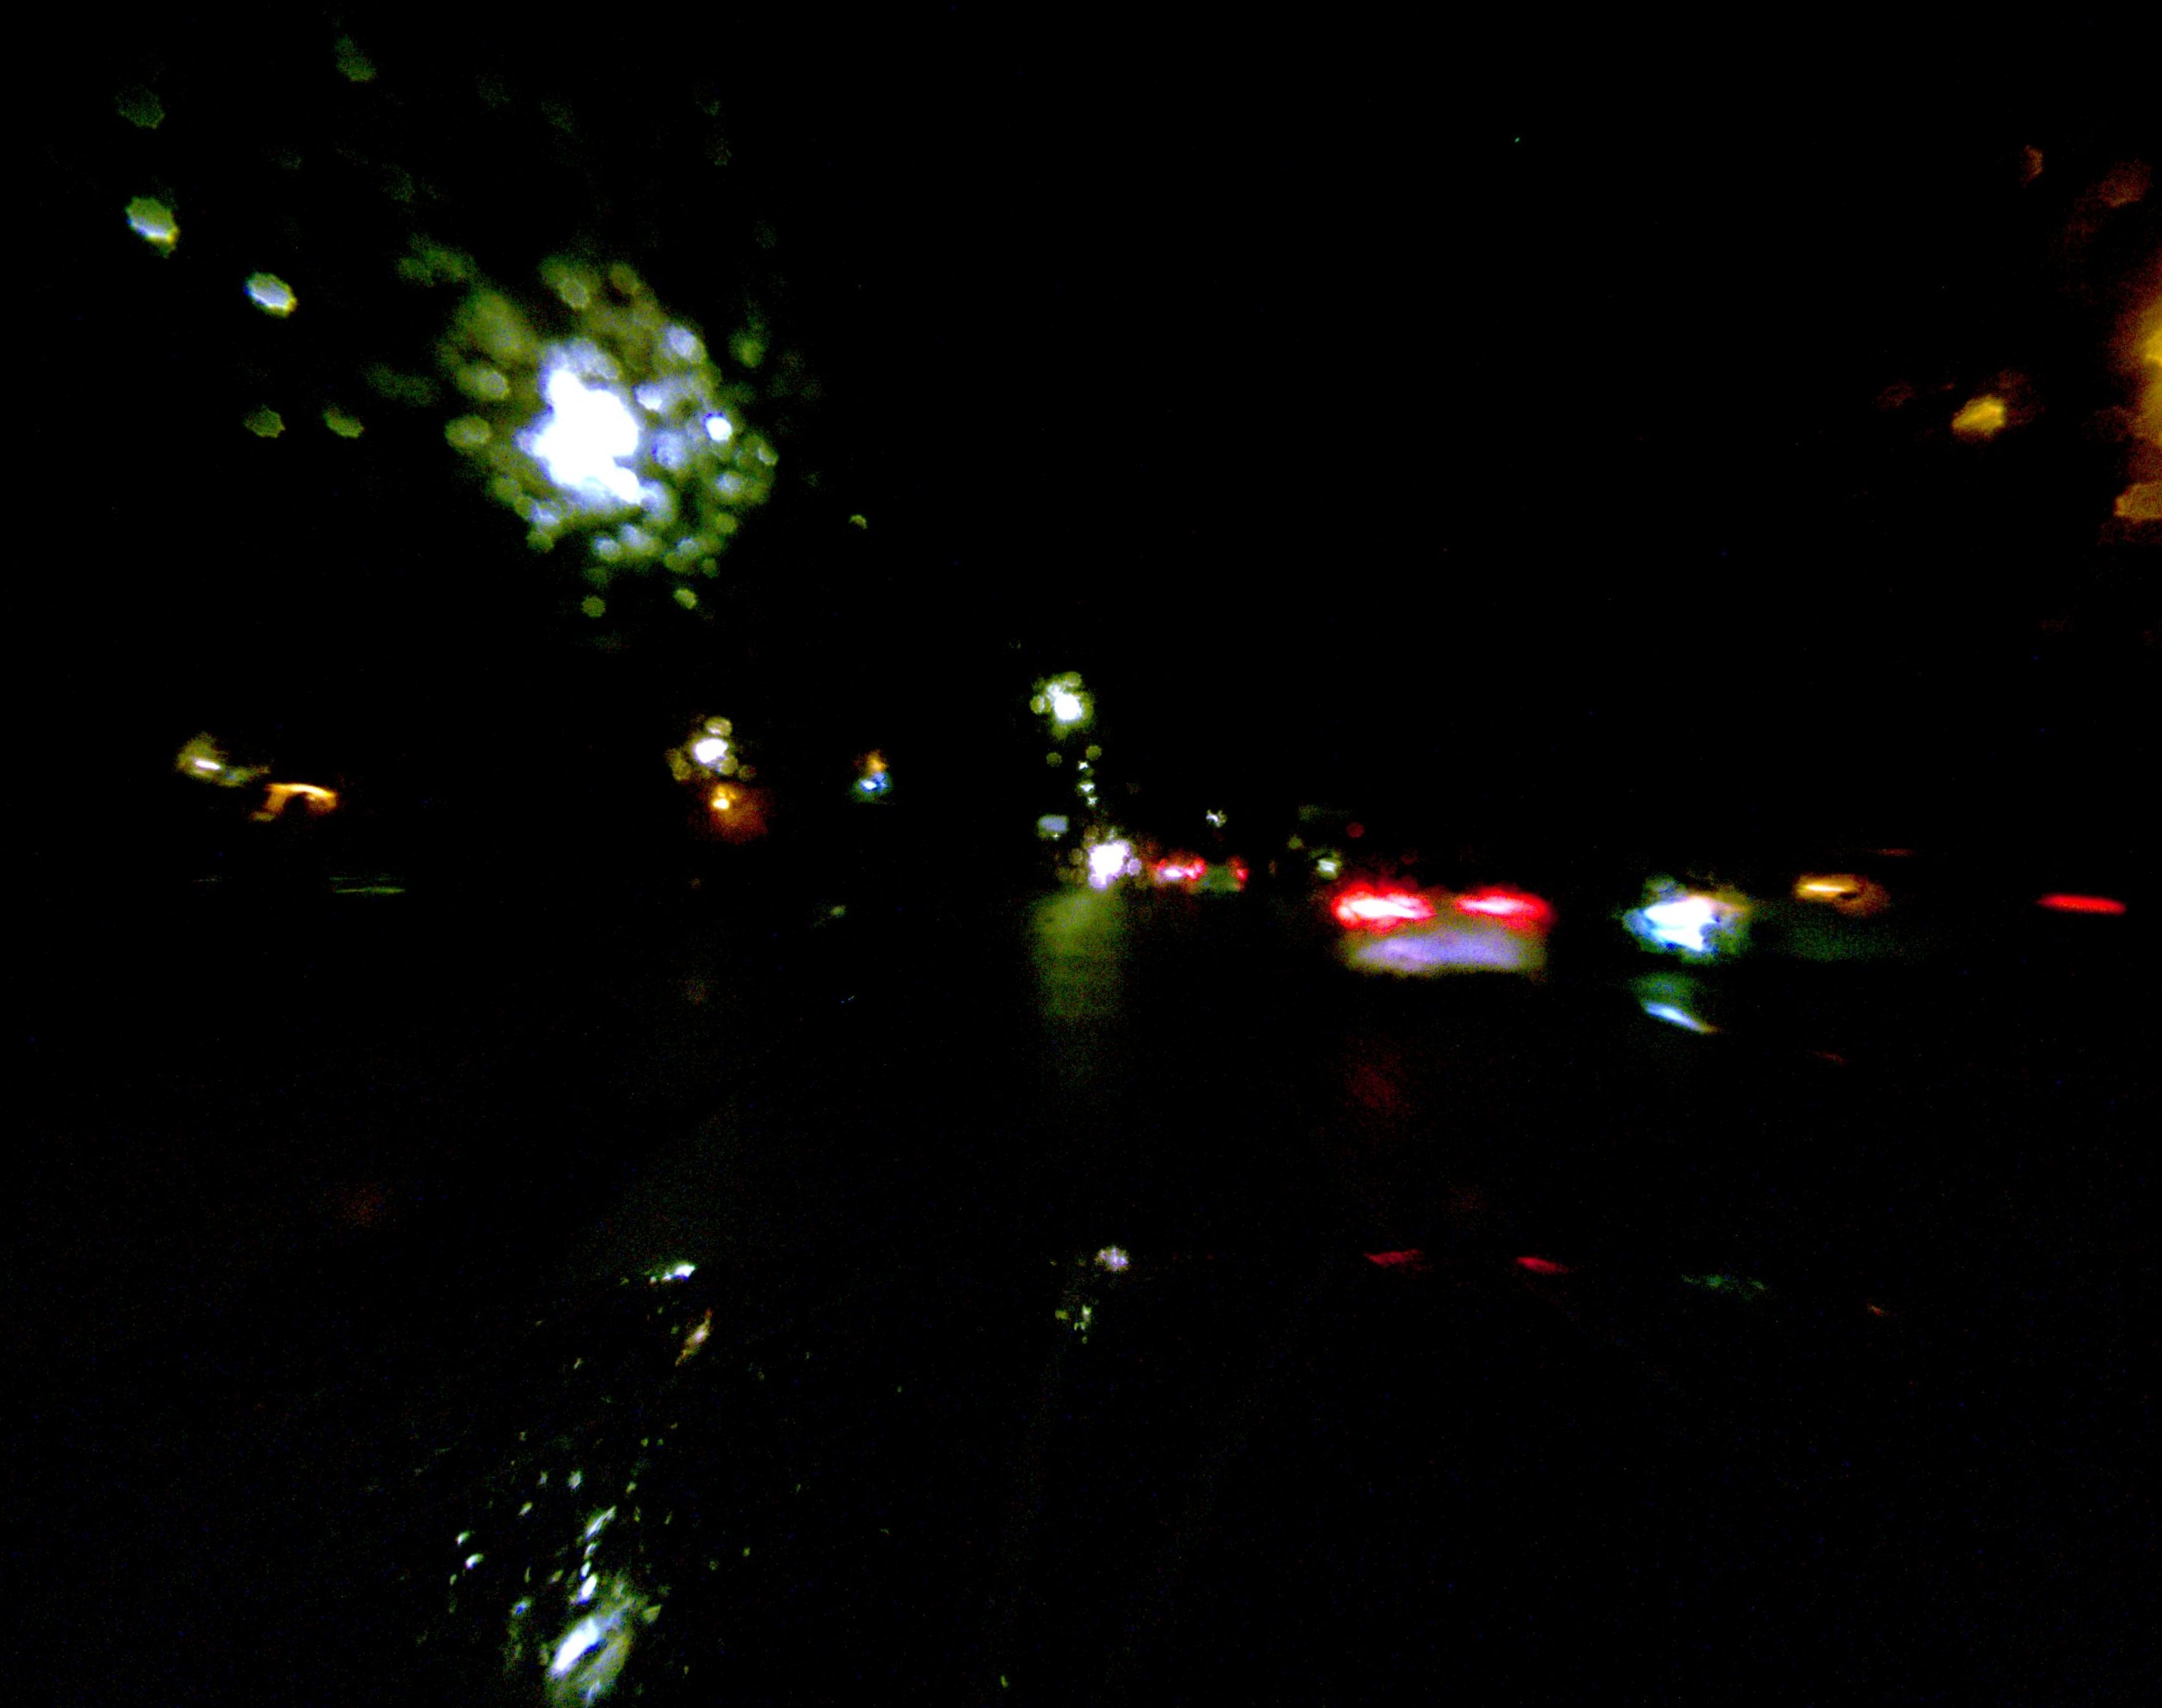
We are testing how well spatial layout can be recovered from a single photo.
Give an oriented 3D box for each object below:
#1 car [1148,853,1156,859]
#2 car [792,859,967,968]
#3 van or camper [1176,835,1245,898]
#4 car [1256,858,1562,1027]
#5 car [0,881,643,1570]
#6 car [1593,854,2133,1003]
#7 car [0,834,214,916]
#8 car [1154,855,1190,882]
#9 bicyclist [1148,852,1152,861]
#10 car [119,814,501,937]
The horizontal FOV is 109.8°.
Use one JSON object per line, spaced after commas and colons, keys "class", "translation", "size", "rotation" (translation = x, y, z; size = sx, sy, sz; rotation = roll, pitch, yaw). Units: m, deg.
{"class": "car", "translation": [20.753, 0.504, 221.003], "size": [1.997, 1.447, 4.306], "rotation": [5, 1, 9]}
{"class": "car", "translation": [-3.245, 0.873, 13.281], "size": [1.794, 1.440, 4.790], "rotation": [3, 0, -1]}
{"class": "van or camper", "translation": [4.743, 0.422, 28.428], "size": [1.874, 2.091, 4.943], "rotation": [1, 0, 2]}
{"class": "car", "translation": [3.454, 0.809, 9.079], "size": [1.800, 1.452, 4.578], "rotation": [-1, 0, 2]}
{"class": "car", "translation": [-3.426, 0.942, 2.255], "size": [1.717, 1.480, 4.435], "rotation": [2, 0, -1]}
{"class": "car", "translation": [9.975, 0.868, 10.200], "size": [4.696, 1.609, 2.002], "rotation": [1, 0, 12]}
{"class": "car", "translation": [-20.010, 0.375, 14.549], "size": [1.830, 1.459, 4.259], "rotation": [-1, 0, 2]}
{"class": "car", "translation": [5.135, 0.813, 43.407], "size": [1.749, 1.425, 4.001], "rotation": [1, 0, 3]}
{"class": "bicyclist", "translation": [13.790, 0.511, 151.277], "size": [0.638, 1.585, 0.961], "rotation": [0, -2, 1]}
{"class": "car", "translation": [-12.341, 0.292, 12.684], "size": [1.908, 1.686, 4.259], "rotation": [-1, 0, 2]}
